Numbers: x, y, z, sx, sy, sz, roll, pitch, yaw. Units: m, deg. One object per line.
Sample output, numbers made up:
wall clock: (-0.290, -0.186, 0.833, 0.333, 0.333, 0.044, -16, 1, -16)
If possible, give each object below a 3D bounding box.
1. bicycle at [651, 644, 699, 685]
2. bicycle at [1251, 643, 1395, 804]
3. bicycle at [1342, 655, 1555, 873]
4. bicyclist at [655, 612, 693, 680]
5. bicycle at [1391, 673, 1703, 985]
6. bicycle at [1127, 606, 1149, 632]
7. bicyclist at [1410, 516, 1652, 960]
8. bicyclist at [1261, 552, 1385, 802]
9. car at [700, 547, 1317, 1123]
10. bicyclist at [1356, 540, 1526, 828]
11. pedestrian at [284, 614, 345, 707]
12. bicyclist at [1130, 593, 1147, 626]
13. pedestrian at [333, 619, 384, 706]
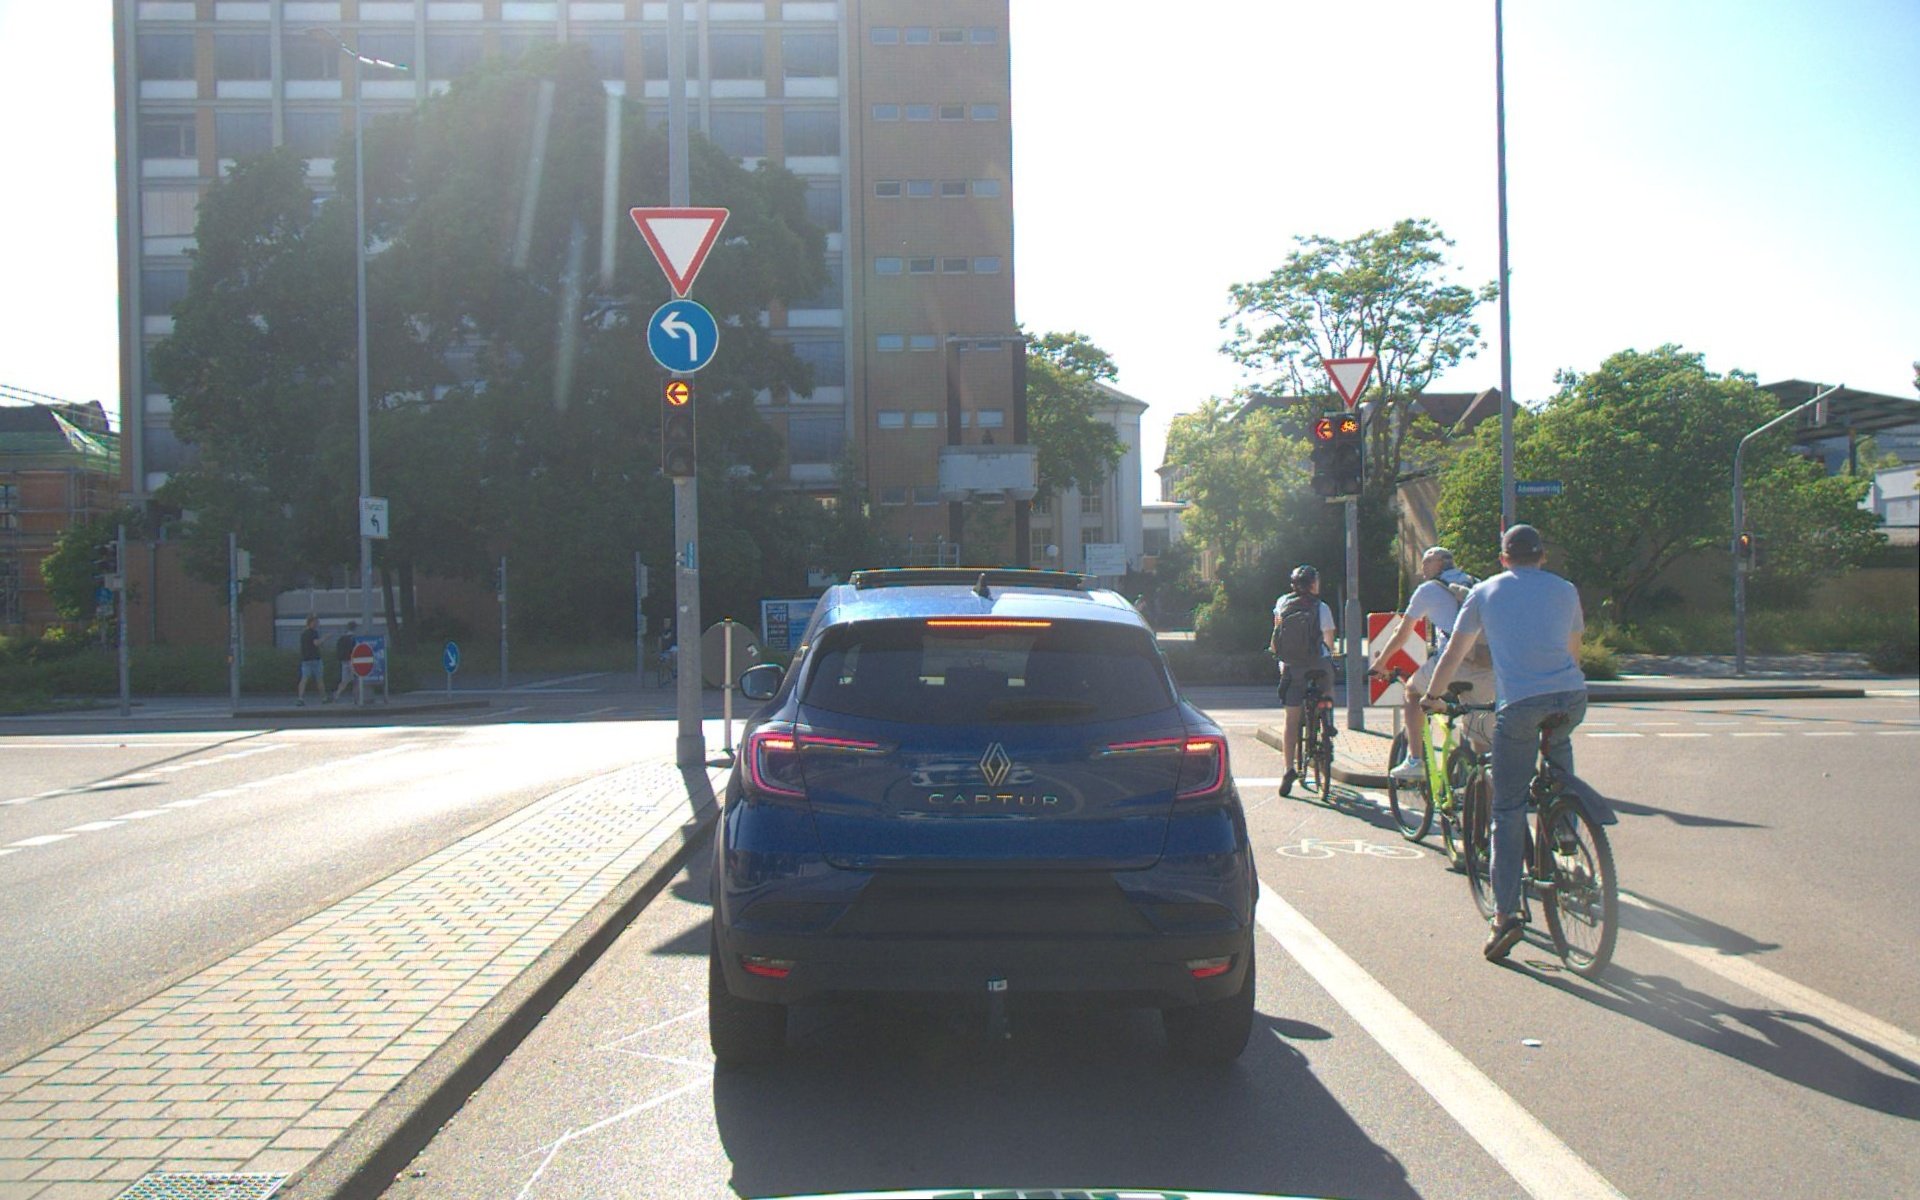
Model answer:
bicycle: (-7.524, 1.698, 43.769, 0.739, 1.002, 2.095, -1, 0, 5)
bicycle: (2.775, 0.911, 12.846, 0.675, 1.108, 1.922, 0, 0, -1)
bicycle: (2.844, 0.911, 9.835, 0.675, 1.108, 1.922, 0, 0, -1)
bicyclist: (-7.543, 1.199, 43.666, 0.739, 1.746, 0.999, -1, 0, 5)
bicycle: (2.503, 0.920, 7.304, 0.675, 1.108, 1.922, 0, 0, -1)
bicycle: (8.327, 0.889, 77.515, 0.680, 1.160, 2.440, -1, 0, -2)
bicyclist: (2.503, 0.568, 7.369, 0.669, 1.822, 1.142, 0, 0, -1)
bicyclist: (2.748, 0.561, 12.613, 0.685, 1.822, 1.142, 0, 0, -1)
car: (0.059, 0.663, 6.643, 1.753, 1.613, 3.912, 0, 0, -3)
bicyclist: (2.843, 0.474, 9.875, 0.664, 1.622, 1.142, 0, 0, -1)
pedestrian: (-13.483, 1.258, 34.549, 0.796, 1.895, 0.910, -1, 0, 13)
bicyclist: (8.339, 0.452, 77.160, 0.680, 1.507, 0.717, -1, 0, -2)
pedestrian: (-12.441, 1.277, 34.210, 0.666, 1.761, 0.761, -1, 0, 13)
